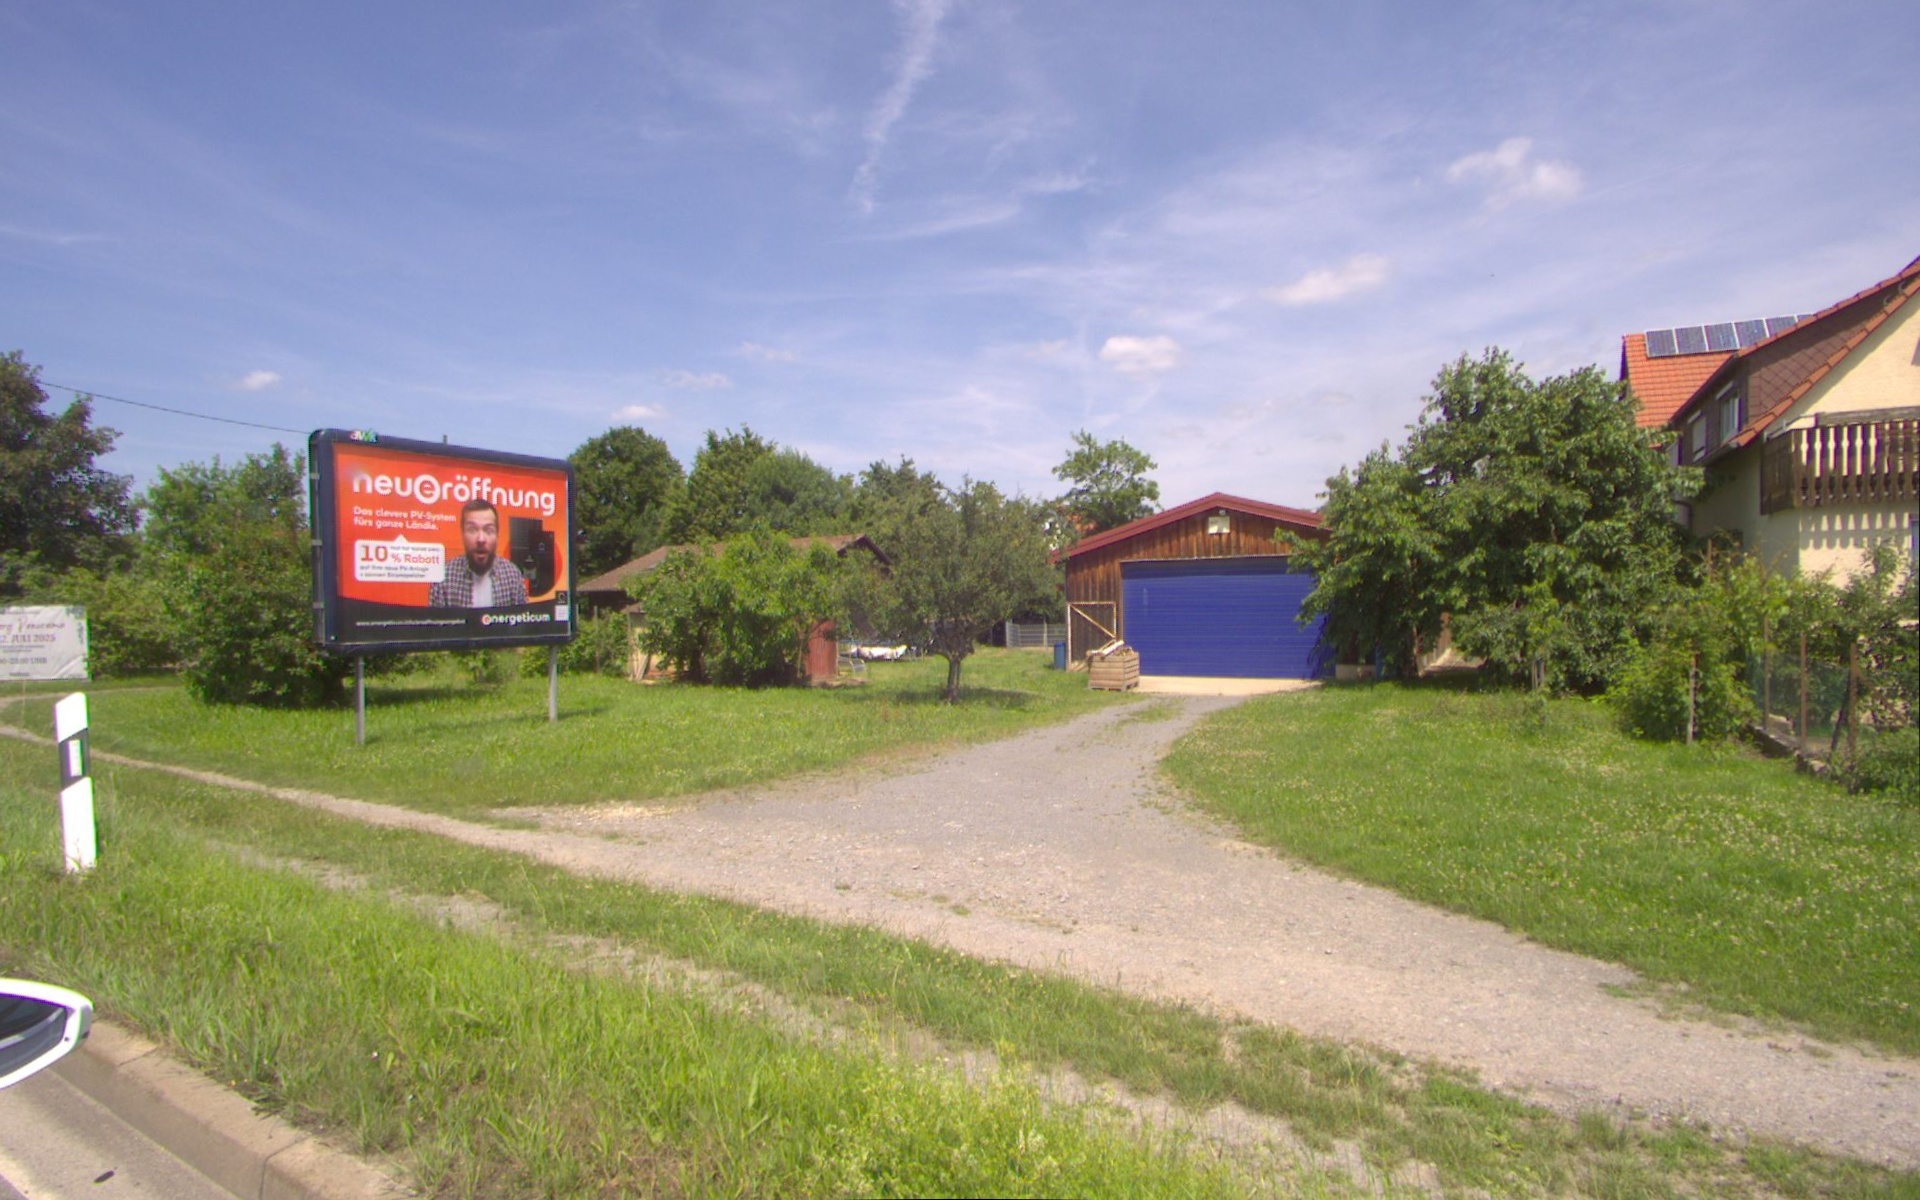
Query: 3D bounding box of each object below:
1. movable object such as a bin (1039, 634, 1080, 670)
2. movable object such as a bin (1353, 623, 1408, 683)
[{"bbox_3d":[3.019,1.571,30.306,1.044,1.046,1.040,0,-1,17],"label":"movable object such as a bin"},{"bbox_3d":[10.254,1.261,24.402,1.049,1.415,1.271,0,0,33],"label":"movable object such as a bin"}]
